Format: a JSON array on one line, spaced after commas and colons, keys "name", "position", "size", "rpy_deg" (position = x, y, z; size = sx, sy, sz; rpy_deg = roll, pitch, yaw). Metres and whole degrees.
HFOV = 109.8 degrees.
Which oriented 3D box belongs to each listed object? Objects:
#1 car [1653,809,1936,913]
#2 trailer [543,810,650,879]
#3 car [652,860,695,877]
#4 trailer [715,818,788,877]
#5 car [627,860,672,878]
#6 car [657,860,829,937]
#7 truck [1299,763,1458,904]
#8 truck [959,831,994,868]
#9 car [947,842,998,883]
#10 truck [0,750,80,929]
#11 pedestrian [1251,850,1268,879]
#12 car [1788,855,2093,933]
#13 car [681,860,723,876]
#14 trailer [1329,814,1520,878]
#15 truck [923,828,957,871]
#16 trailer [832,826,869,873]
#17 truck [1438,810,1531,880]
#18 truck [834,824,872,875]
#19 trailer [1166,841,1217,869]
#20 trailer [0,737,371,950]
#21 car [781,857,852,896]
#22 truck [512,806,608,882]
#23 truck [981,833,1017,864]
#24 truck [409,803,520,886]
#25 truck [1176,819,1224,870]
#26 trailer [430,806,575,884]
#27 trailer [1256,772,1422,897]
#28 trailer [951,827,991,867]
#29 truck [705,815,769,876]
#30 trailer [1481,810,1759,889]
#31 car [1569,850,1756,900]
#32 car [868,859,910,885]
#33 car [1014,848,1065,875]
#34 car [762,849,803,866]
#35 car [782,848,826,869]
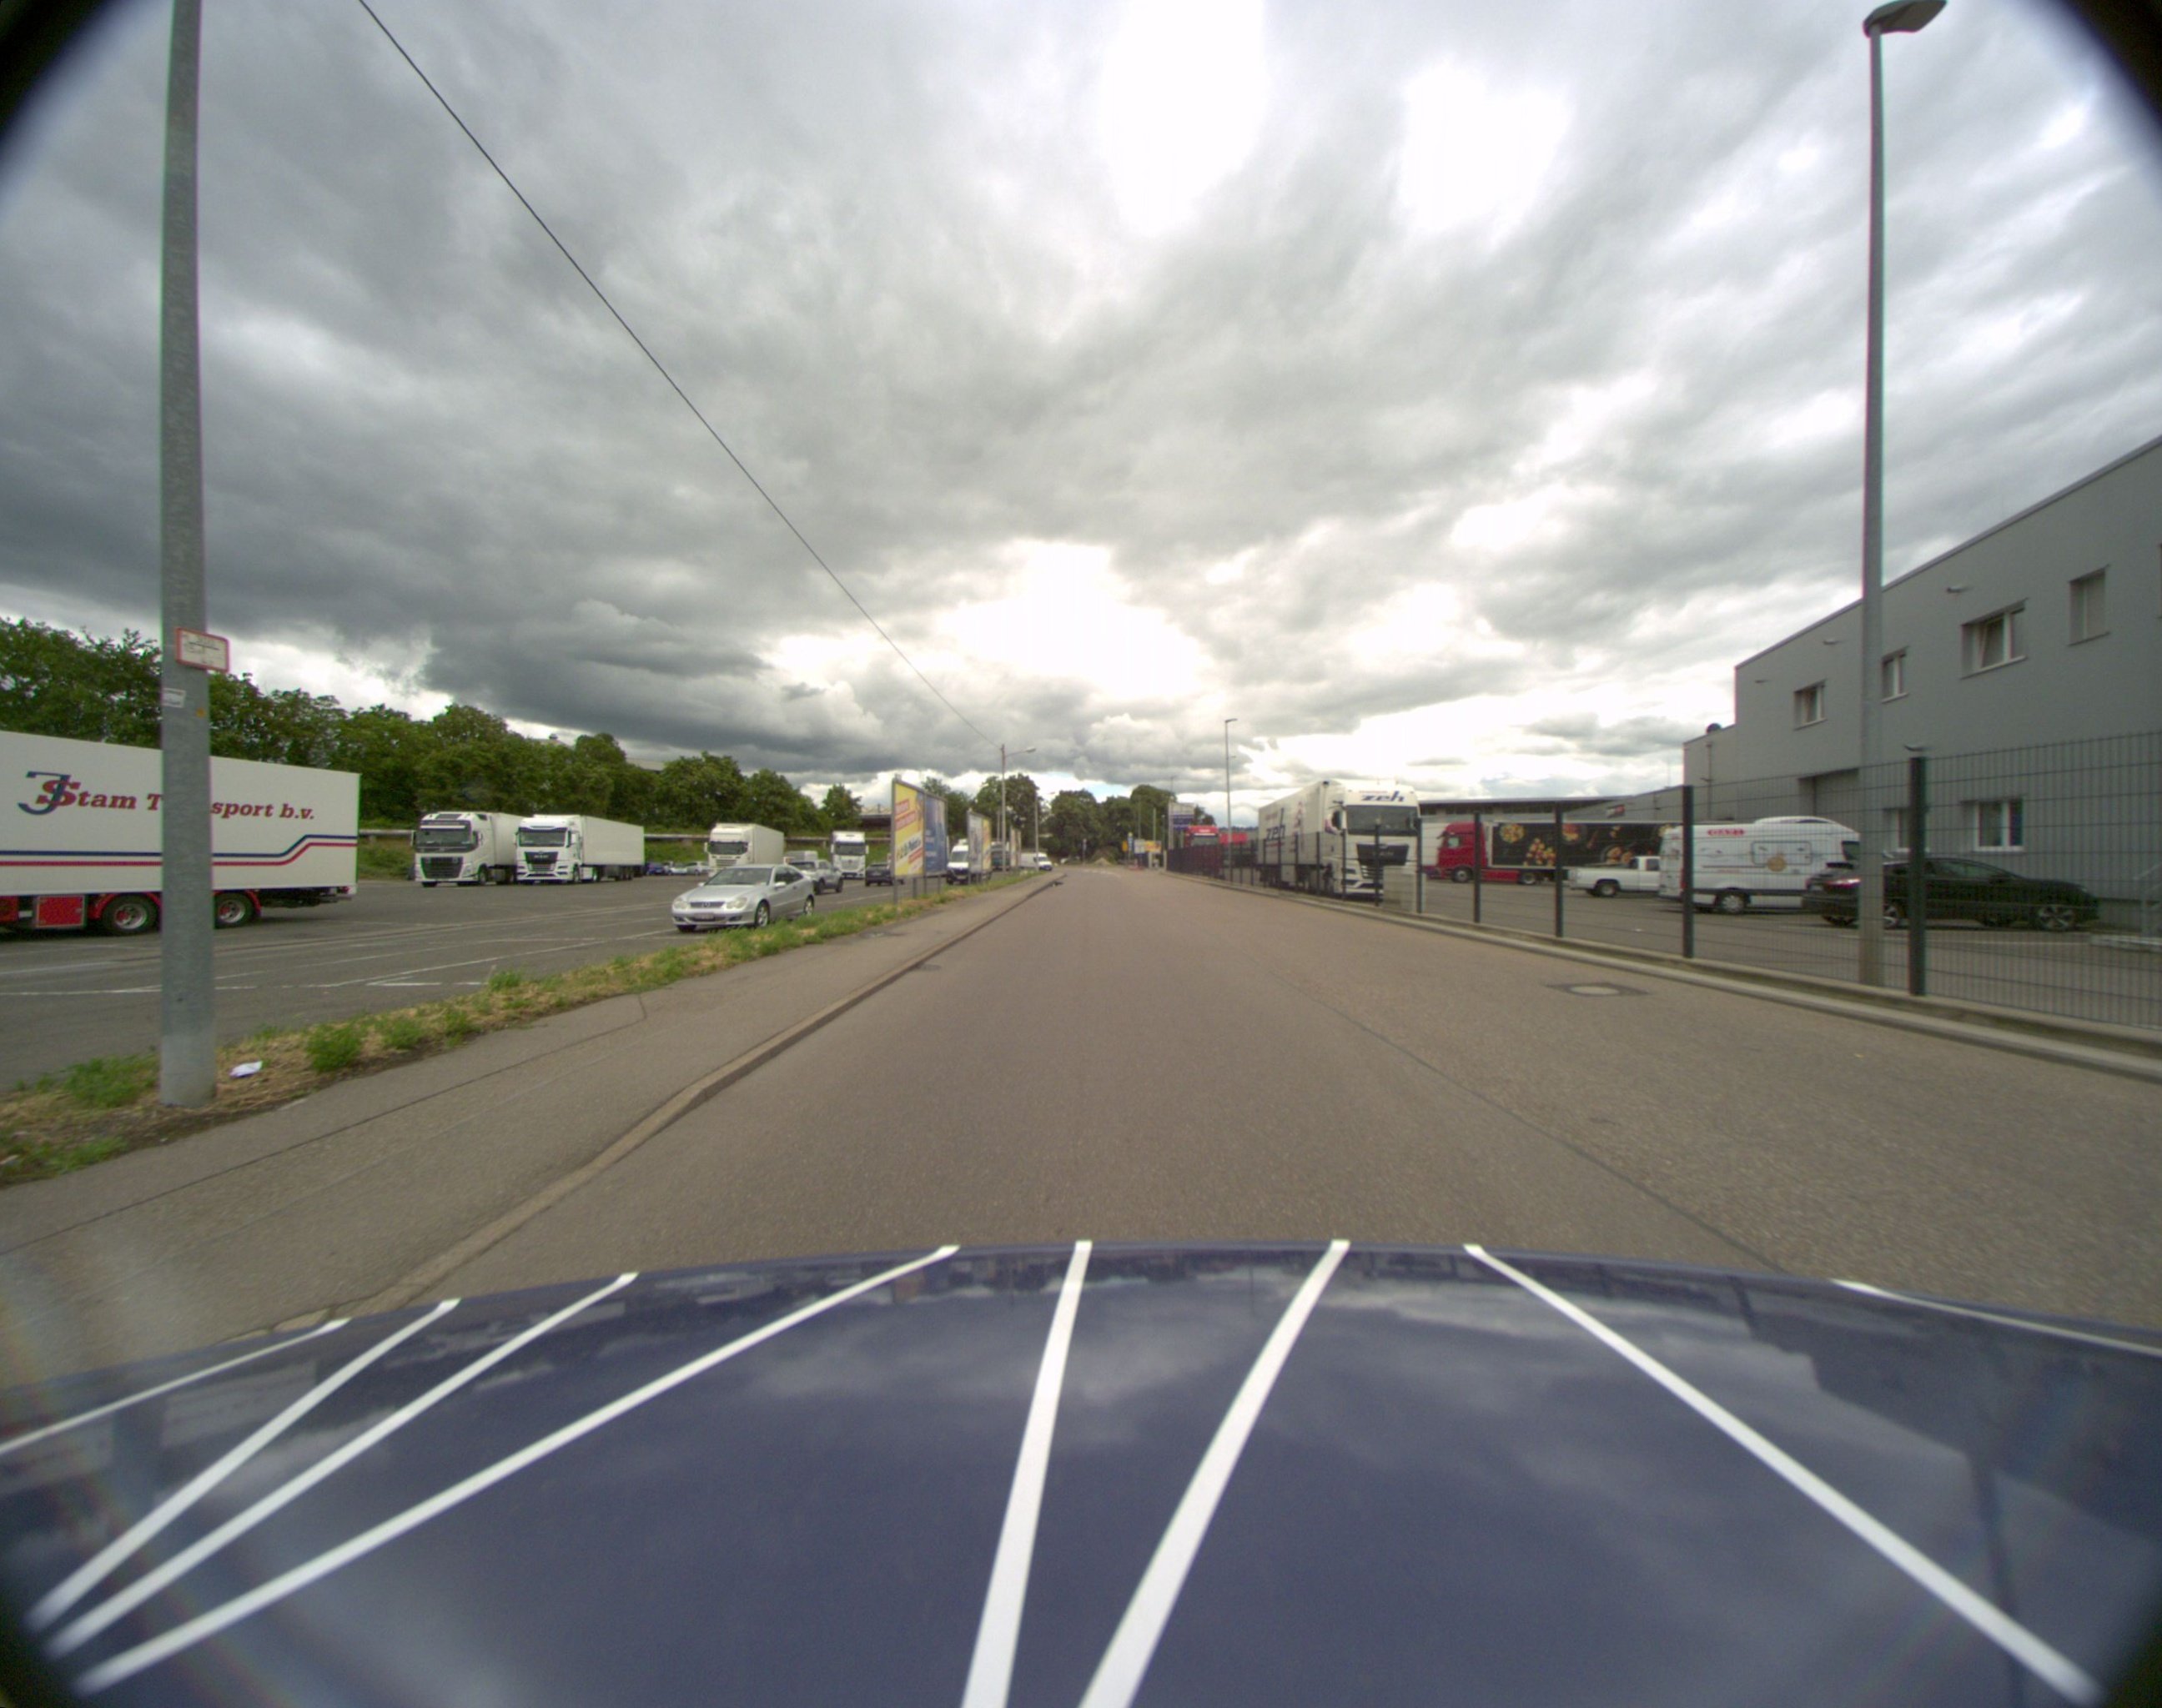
[{"name": "car", "position": [20.040, 0.255, 21.739], "size": [5.422, 2.714, 2.245], "rpy_deg": [-1, 0, 20]}, {"name": "trailer", "position": [-32.177, -0.561, 51.199], "size": [2.618, 4.071, 12.426], "rpy_deg": [1, 0, -16]}, {"name": "car", "position": [-41.425, 1.451, 77.258], "size": [4.208, 1.599, 2.004], "rpy_deg": [1, 1, 30]}, {"name": "trailer", "position": [-25.893, -0.476, 60.480], "size": [2.841, 4.071, 13.380], "rpy_deg": [1, 0, -13]}, {"name": "car", "position": [-42.579, 1.470, 74.943], "size": [4.208, 1.599, 2.004], "rpy_deg": [1, 1, 30]}, {"name": "car", "position": [-7.340, 0.891, 17.097], "size": [1.778, 1.455, 4.560], "rpy_deg": [0, 0, 1]}, {"name": "truck", "position": [9.756, -0.637, 25.706], "size": [3.366, 4.136, 5.629], "rpy_deg": [2, 1, 5]}, {"name": "truck", "position": [-10.881, -0.477, 78.679], "size": [2.876, 3.609, 6.748], "rpy_deg": [1, 0, -14]}, {"name": "car", "position": [-6.813, 0.501, 48.372], "size": [2.091, 2.401, 6.084], "rpy_deg": [0, 0, 2]}, {"name": "truck", "position": [-25.487, -0.334, 11.566], "size": [3.082, 3.944, 13.068], "rpy_deg": [2, 0, 1]}, {"name": "pedestrian", "position": [11.017, 0.643, 46.917], "size": [0.804, 1.809, 0.880], "rpy_deg": [0, 1, -2]}, {"name": "car", "position": [18.907, 0.850, 17.007], "size": [4.071, 1.567, 1.947], "rpy_deg": [-1, 0, 22]}, {"name": "car", "position": [-39.213, 1.427, 78.588], "size": [3.989, 1.599, 2.004], "rpy_deg": [1, 1, 30]}, {"name": "trailer", "position": [24.146, -0.613, 54.295], "size": [12.019, 4.109, 3.053], "rpy_deg": [2, 1, 19]}, {"name": "truck", "position": [-13.901, -0.443, 74.526], "size": [2.876, 3.990, 6.748], "rpy_deg": [1, 0, -14]}, {"name": "trailer", "position": [-22.028, -0.430, 72.200], "size": [2.842, 4.071, 13.373], "rpy_deg": [1, 0, -19]}, {"name": "truck", "position": [25.544, -0.594, 48.386], "size": [4.869, 4.181, 3.053], "rpy_deg": [2, 1, 23]}, {"name": "truck", "position": [-19.670, -0.384, 65.357], "size": [2.877, 4.071, 6.745], "rpy_deg": [1, 0, -19]}, {"name": "trailer", "position": [9.599, 0.006, 67.433], "size": [3.045, 2.179, 12.048], "rpy_deg": [2, 0, 1]}, {"name": "trailer", "position": [-21.371, -0.249, 15.793], "size": [2.964, 3.944, 10.407], "rpy_deg": [2, 0, 4]}, {"name": "car", "position": [-12.092, 0.986, 34.956], "size": [1.769, 1.562, 4.000], "rpy_deg": [-2, 0, 0]}, {"name": "truck", "position": [-30.203, -0.529, 44.367], "size": [2.618, 4.071, 6.746], "rpy_deg": [1, 0, -16]}, {"name": "truck", "position": [-10.290, -0.626, 94.617], "size": [2.832, 3.690, 9.089], "rpy_deg": [0, 0, -17]}, {"name": "truck", "position": [-32.851, -0.463, 40.765], "size": [2.618, 4.071, 5.646], "rpy_deg": [1, 0, -16]}, {"name": "truck", "position": [9.511, -0.766, 61.432], "size": [3.021, 3.827, 5.670], "rpy_deg": [2, 1, 1]}, {"name": "trailer", "position": [-34.338, -0.468, 45.905], "size": [2.618, 4.071, 12.426], "rpy_deg": [1, 0, -16]}, {"name": "trailer", "position": [10.319, -0.689, 32.683], "size": [3.366, 4.136, 13.852], "rpy_deg": [2, 0, 5]}, {"name": "trailer", "position": [-12.493, -0.725, 84.851], "size": [2.842, 4.071, 13.377], "rpy_deg": [1, 0, -15]}, {"name": "truck", "position": [-24.513, -0.576, 54.506], "size": [2.876, 4.071, 6.748], "rpy_deg": [1, 0, -13]}, {"name": "trailer", "position": [31.728, -0.390, 45.746], "size": [13.156, 4.189, 3.053], "rpy_deg": [2, 1, 23]}, {"name": "car", "position": [23.319, 0.782, 30.791], "size": [5.679, 1.799, 1.947], "rpy_deg": [1, 1, 22]}, {"name": "car", "position": [-12.203, 1.116, 48.538], "size": [1.497, 1.486, 4.053], "rpy_deg": [0, 0, 2]}, {"name": "car", "position": [-5.811, 1.029, 104.951], "size": [3.346, 3.586, 8.648], "rpy_deg": [0, 0, -31]}, {"name": "car", "position": [-34.318, 0.383, 87.360], "size": [4.707, 1.881, 2.004], "rpy_deg": [0, 0, 32]}, {"name": "car", "position": [-32.666, 0.511, 89.498], "size": [4.906, 2.435, 2.375], "rpy_deg": [0, 0, 32]}]
